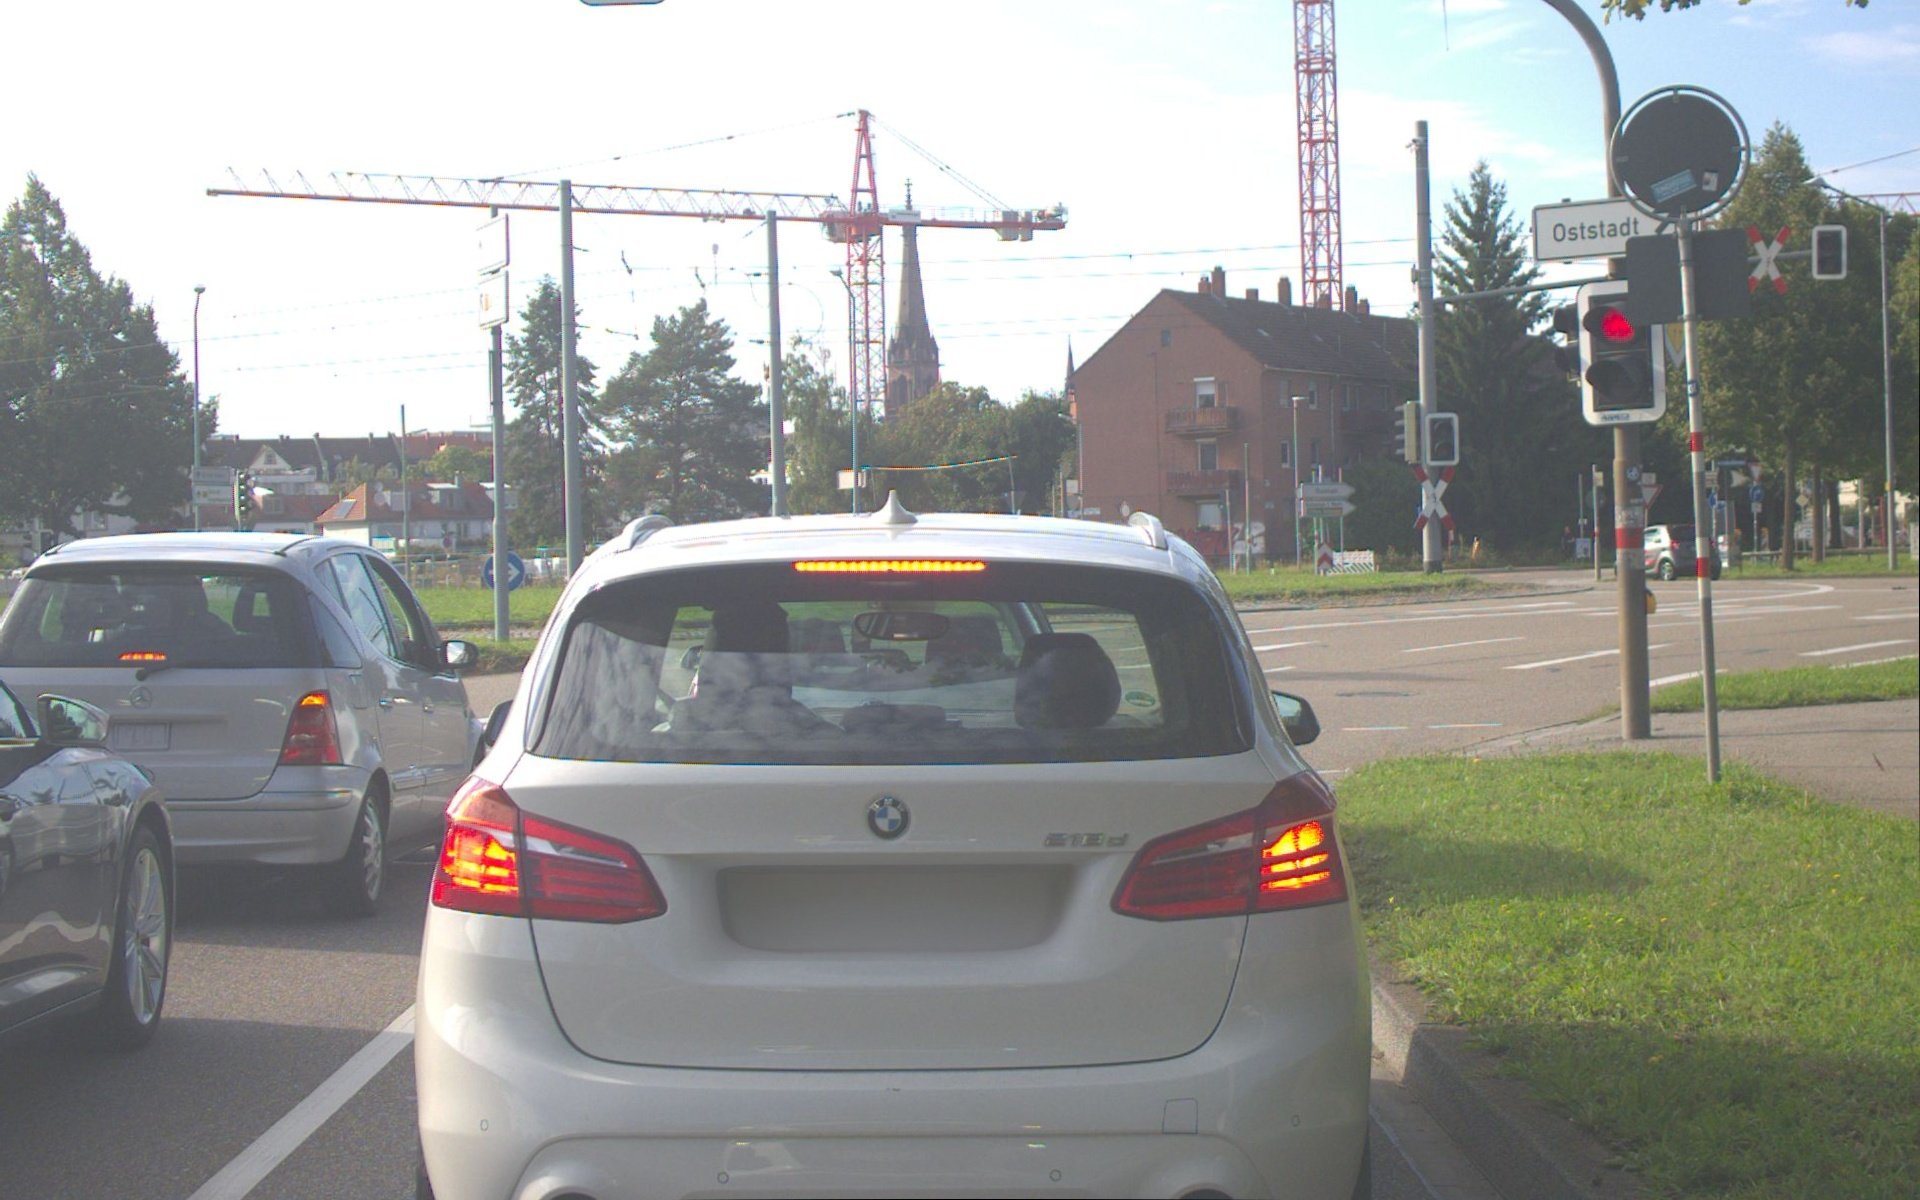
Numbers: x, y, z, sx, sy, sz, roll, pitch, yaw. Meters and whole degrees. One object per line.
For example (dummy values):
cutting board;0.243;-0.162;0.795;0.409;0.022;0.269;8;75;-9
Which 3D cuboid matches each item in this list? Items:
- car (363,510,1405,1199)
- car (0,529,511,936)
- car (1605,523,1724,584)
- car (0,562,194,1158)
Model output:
car;-0.154;0.594;7.744;1.729;1.553;4.058;0;1;-1
car;-3.105;0.474;15.200;1.729;1.553;4.058;0;1;0
car;18.837;-1.237;91.985;1.569;1.568;3.199;-2;1;-22
car;-3.322;0.643;8.499;1.890;1.478;4.613;0;1;-1
